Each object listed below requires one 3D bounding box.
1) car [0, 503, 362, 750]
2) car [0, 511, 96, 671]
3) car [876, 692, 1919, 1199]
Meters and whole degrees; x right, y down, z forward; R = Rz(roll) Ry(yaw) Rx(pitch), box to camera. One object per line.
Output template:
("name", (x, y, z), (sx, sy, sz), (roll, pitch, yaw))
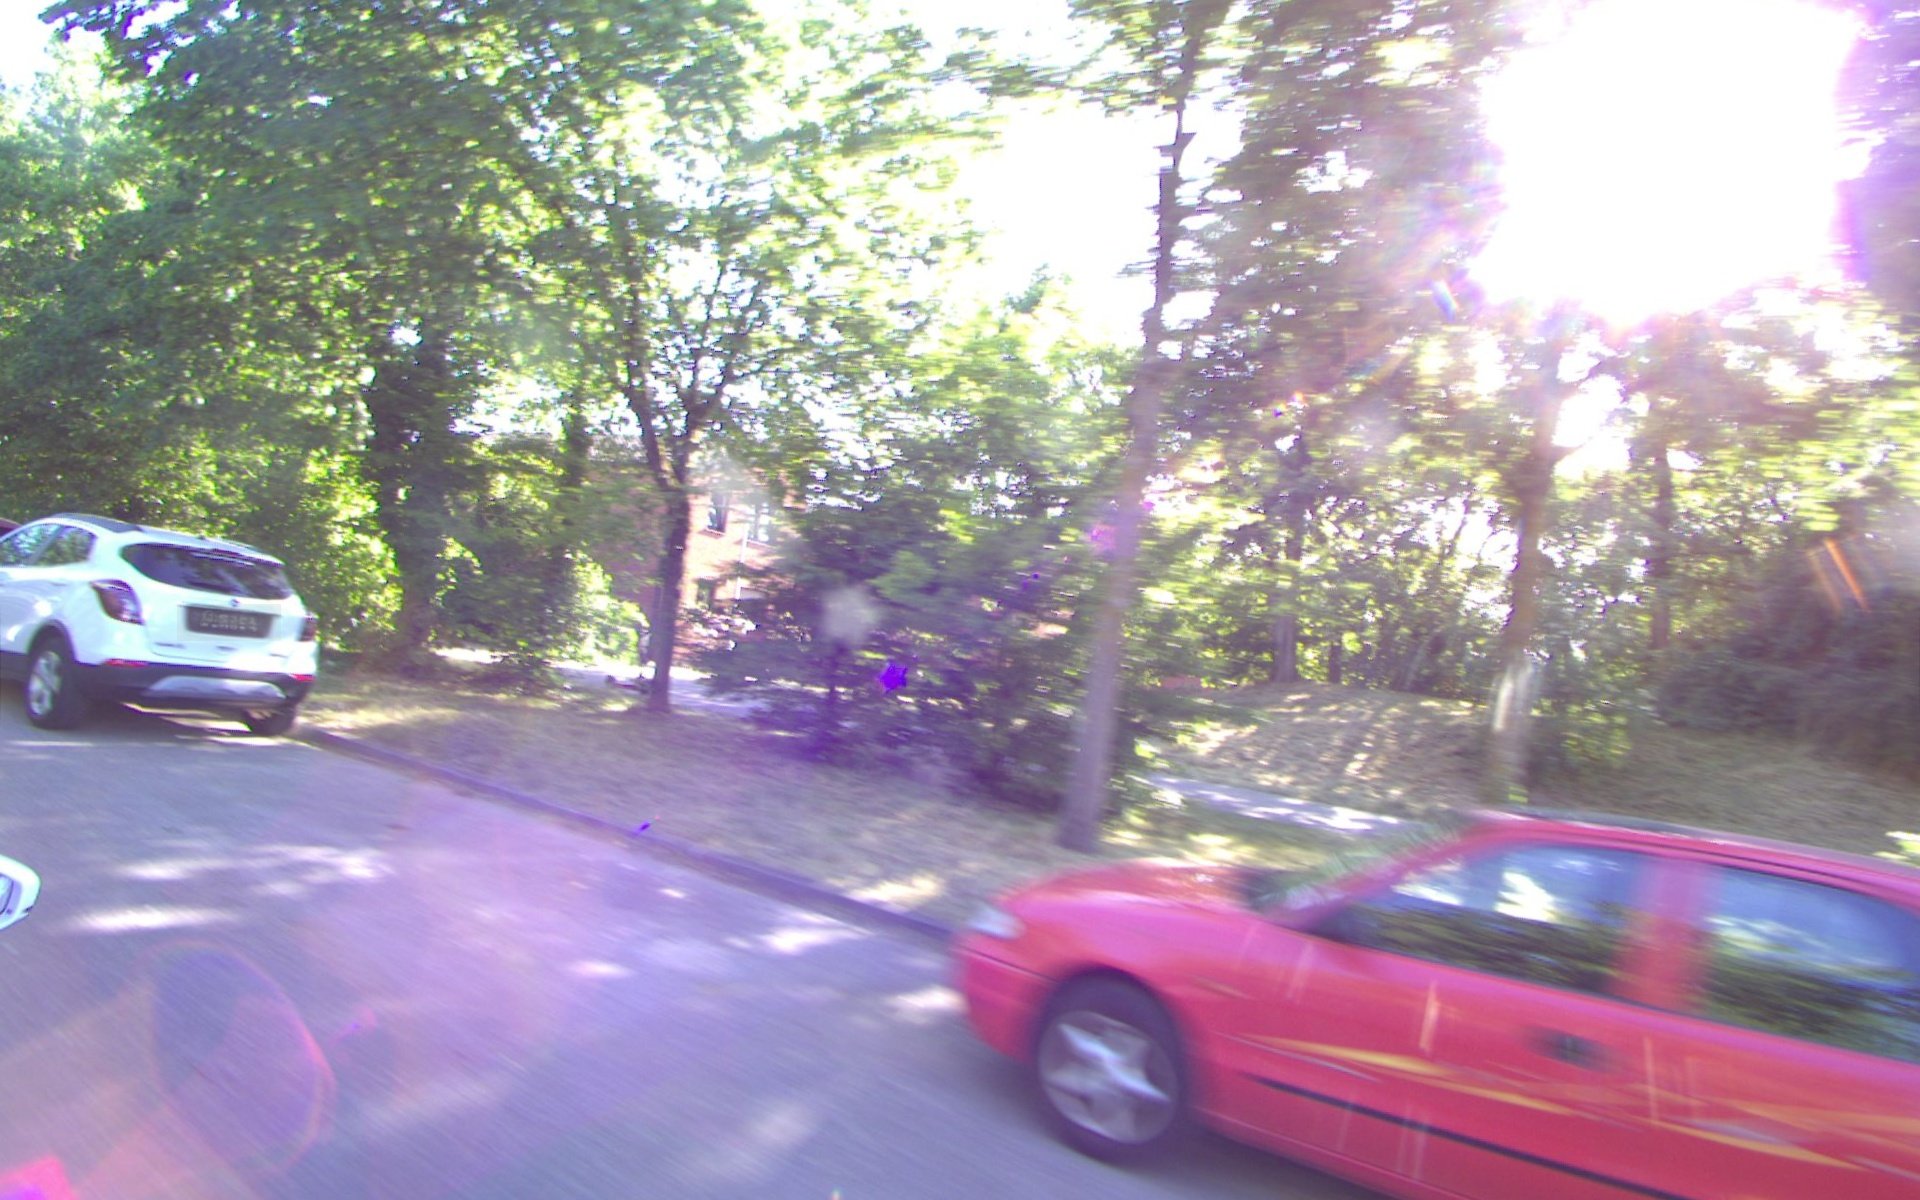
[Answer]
("car", (-7.547, 0.160, 8.979), (3.994, 1.637, 1.783), (7, -5, 28))
("car", (-12.143, -0.348, 11.592), (3.994, 1.637, 1.783), (7, -5, 28))
("car", (1.954, 1.357, 3.429), (4.084, 1.389, 1.668), (6, -5, 29))
